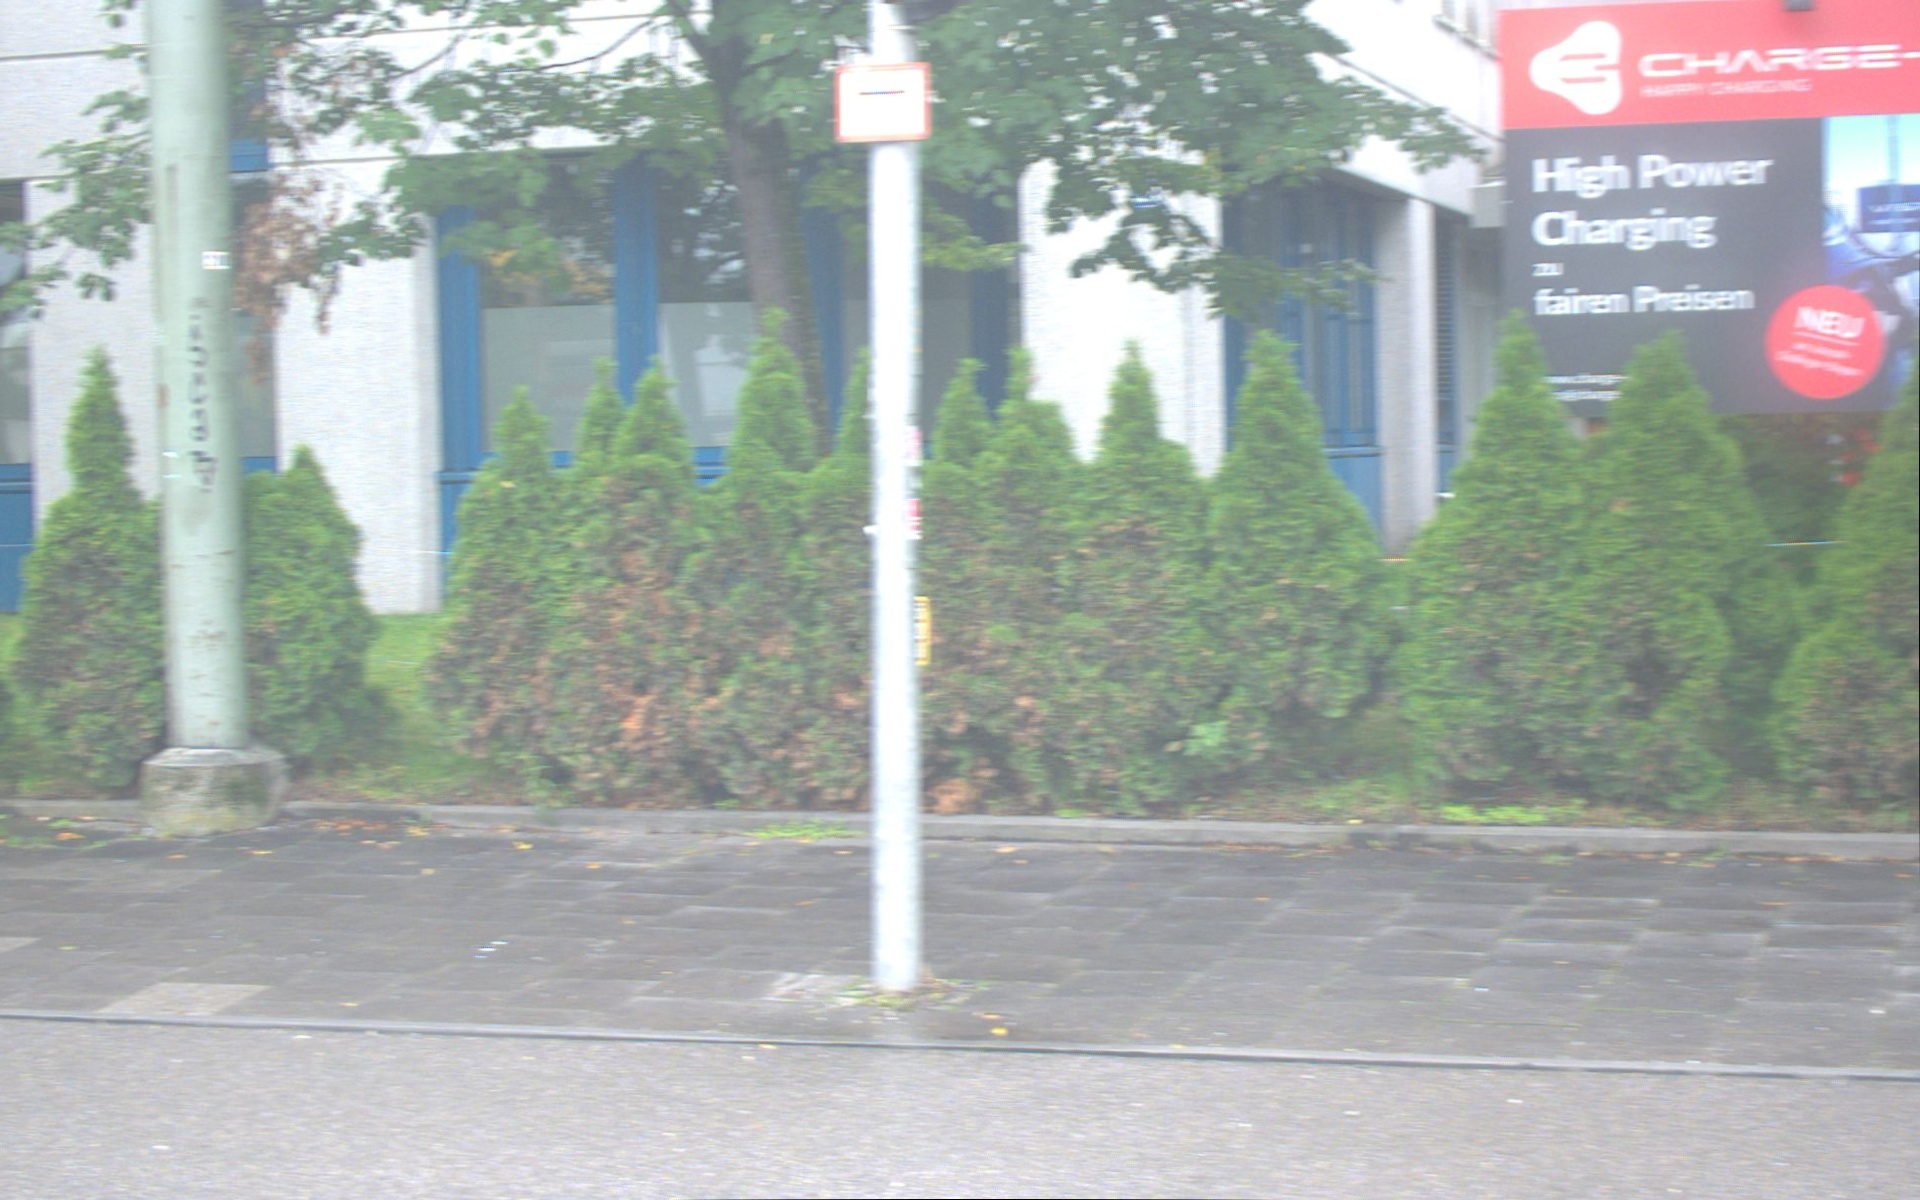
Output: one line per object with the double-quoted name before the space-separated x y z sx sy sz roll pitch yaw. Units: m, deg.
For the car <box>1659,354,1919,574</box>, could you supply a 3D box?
"car" 6.741 -1.039 24.667 1.867 1.413 4.169 1 5 35
